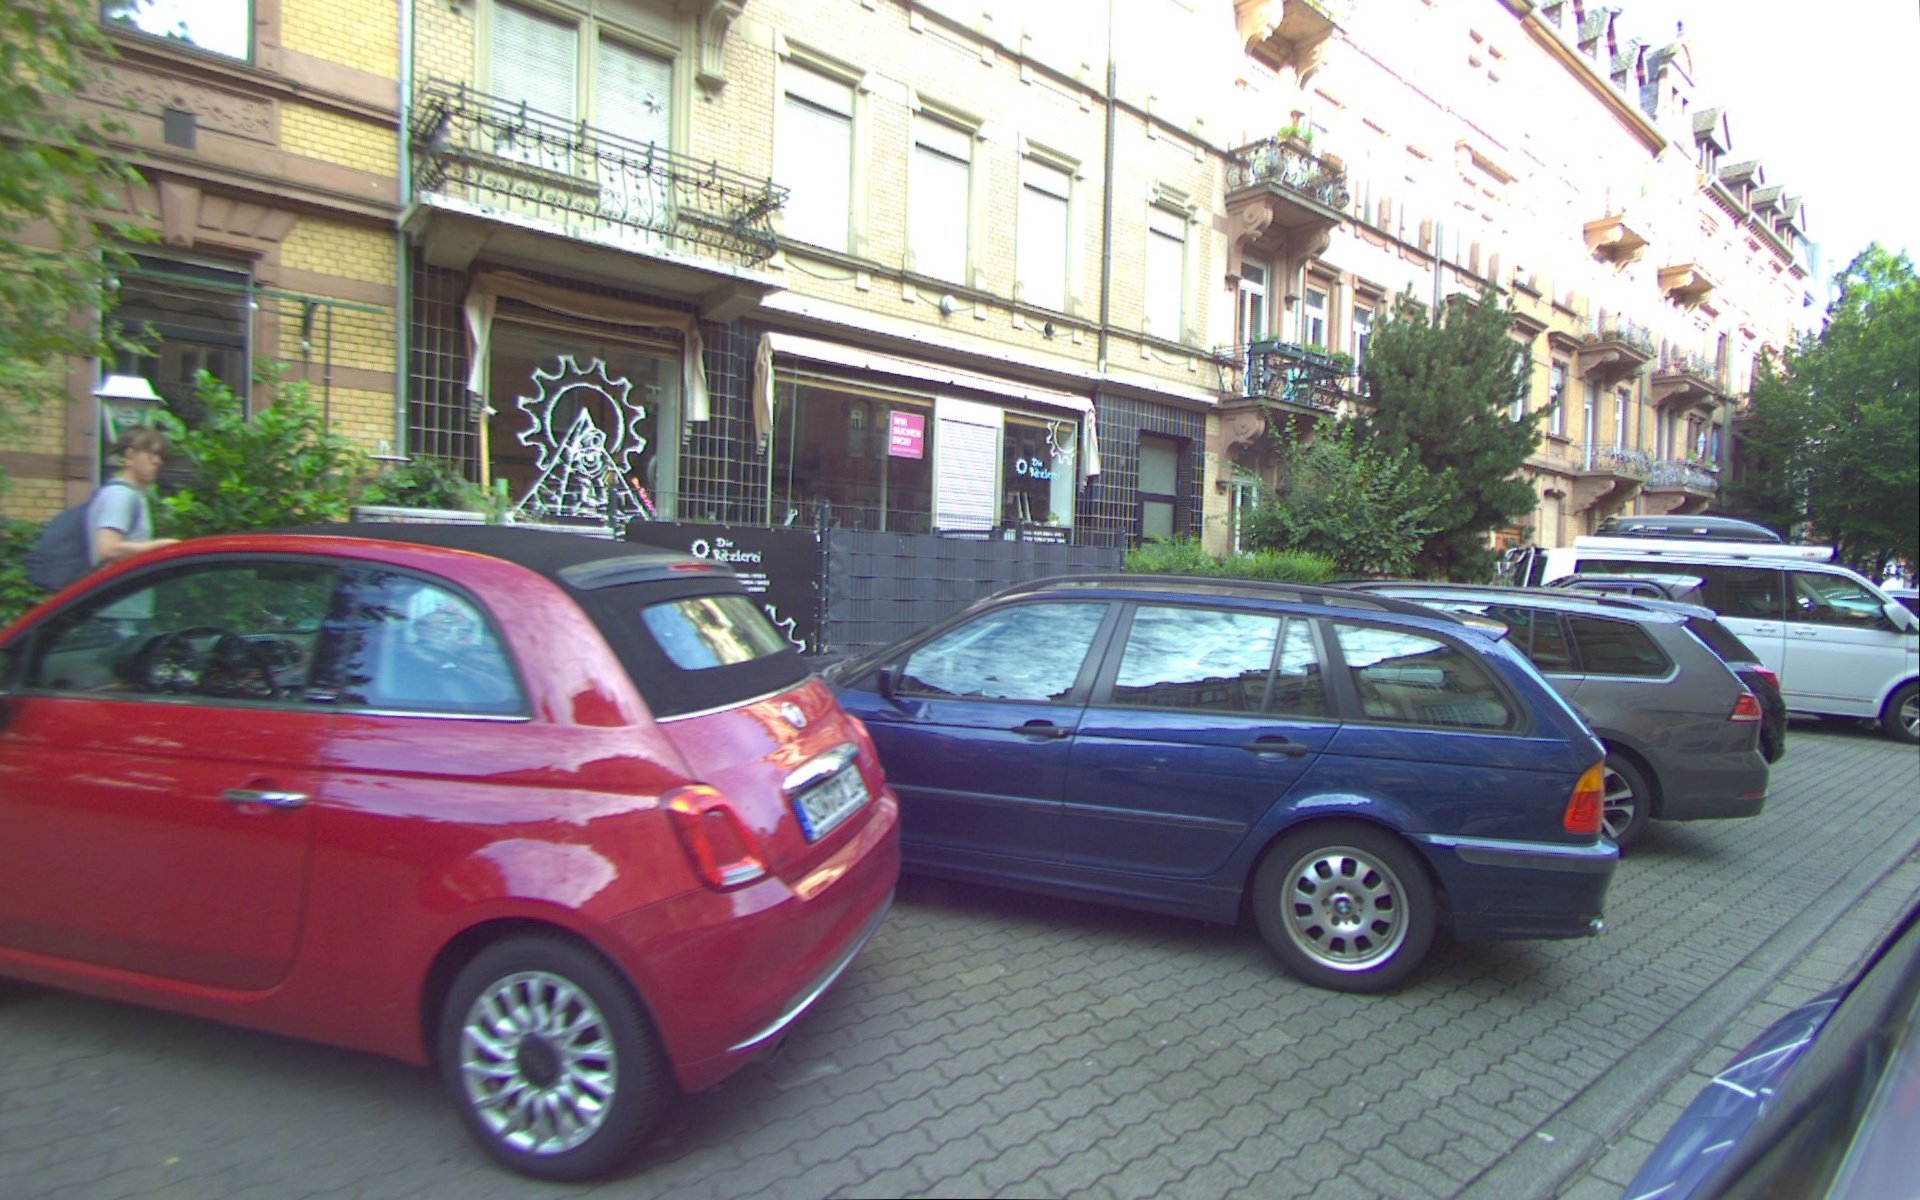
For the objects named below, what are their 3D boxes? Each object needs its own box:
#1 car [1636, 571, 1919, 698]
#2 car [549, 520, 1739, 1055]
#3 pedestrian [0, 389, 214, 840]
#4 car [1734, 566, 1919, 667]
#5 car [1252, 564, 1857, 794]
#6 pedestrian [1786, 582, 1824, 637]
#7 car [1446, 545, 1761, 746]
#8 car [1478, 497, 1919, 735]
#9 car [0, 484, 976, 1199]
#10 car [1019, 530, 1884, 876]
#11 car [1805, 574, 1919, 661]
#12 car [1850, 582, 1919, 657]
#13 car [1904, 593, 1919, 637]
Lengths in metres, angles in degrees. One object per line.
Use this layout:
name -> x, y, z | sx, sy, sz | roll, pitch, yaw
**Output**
car -> 13.314, 0.499, 15.549 | 4.396, 1.754, 1.990 | 2, 0, 16
car -> 0.566, 0.533, 4.756 | 4.409, 1.482, 1.870 | 4, 2, 17
pedestrian -> -4.017, 0.051, 4.809 | 0.709, 1.901, 0.842 | 1, 2, -35
car -> 19.078, 0.395, 20.816 | 1.777, 1.806, 4.649 | 3, 3, -40
car -> 4.644, 0.534, 8.522 | 3.930, 1.477, 1.746 | 3, 2, 10
pedestrian -> 26.377, 0.280, 31.582 | 0.819, 1.654, 0.732 | -1, 3, -42
car -> 6.479, 0.391, 10.478 | 2.444, 1.686, 1.335 | 6, 2, 25
car -> 9.192, 0.119, 11.953 | 5.093, 2.434, 1.907 | 3, 2, 18
car -> -1.942, 0.457, 3.369 | 3.664, 1.503, 1.735 | 4, 2, 13
car -> 2.736, 0.481, 6.610 | 4.400, 1.495, 1.883 | 5, 2, 12
car -> 22.501, 0.452, 23.182 | 4.349, 1.844, 1.745 | 4, 3, 20
car -> 24.658, 0.549, 24.645 | 3.951, 1.762, 1.828 | 3, 2, 20
car -> 34.530, 0.673, 33.348 | 4.554, 1.469, 1.782 | 4, 3, 19
